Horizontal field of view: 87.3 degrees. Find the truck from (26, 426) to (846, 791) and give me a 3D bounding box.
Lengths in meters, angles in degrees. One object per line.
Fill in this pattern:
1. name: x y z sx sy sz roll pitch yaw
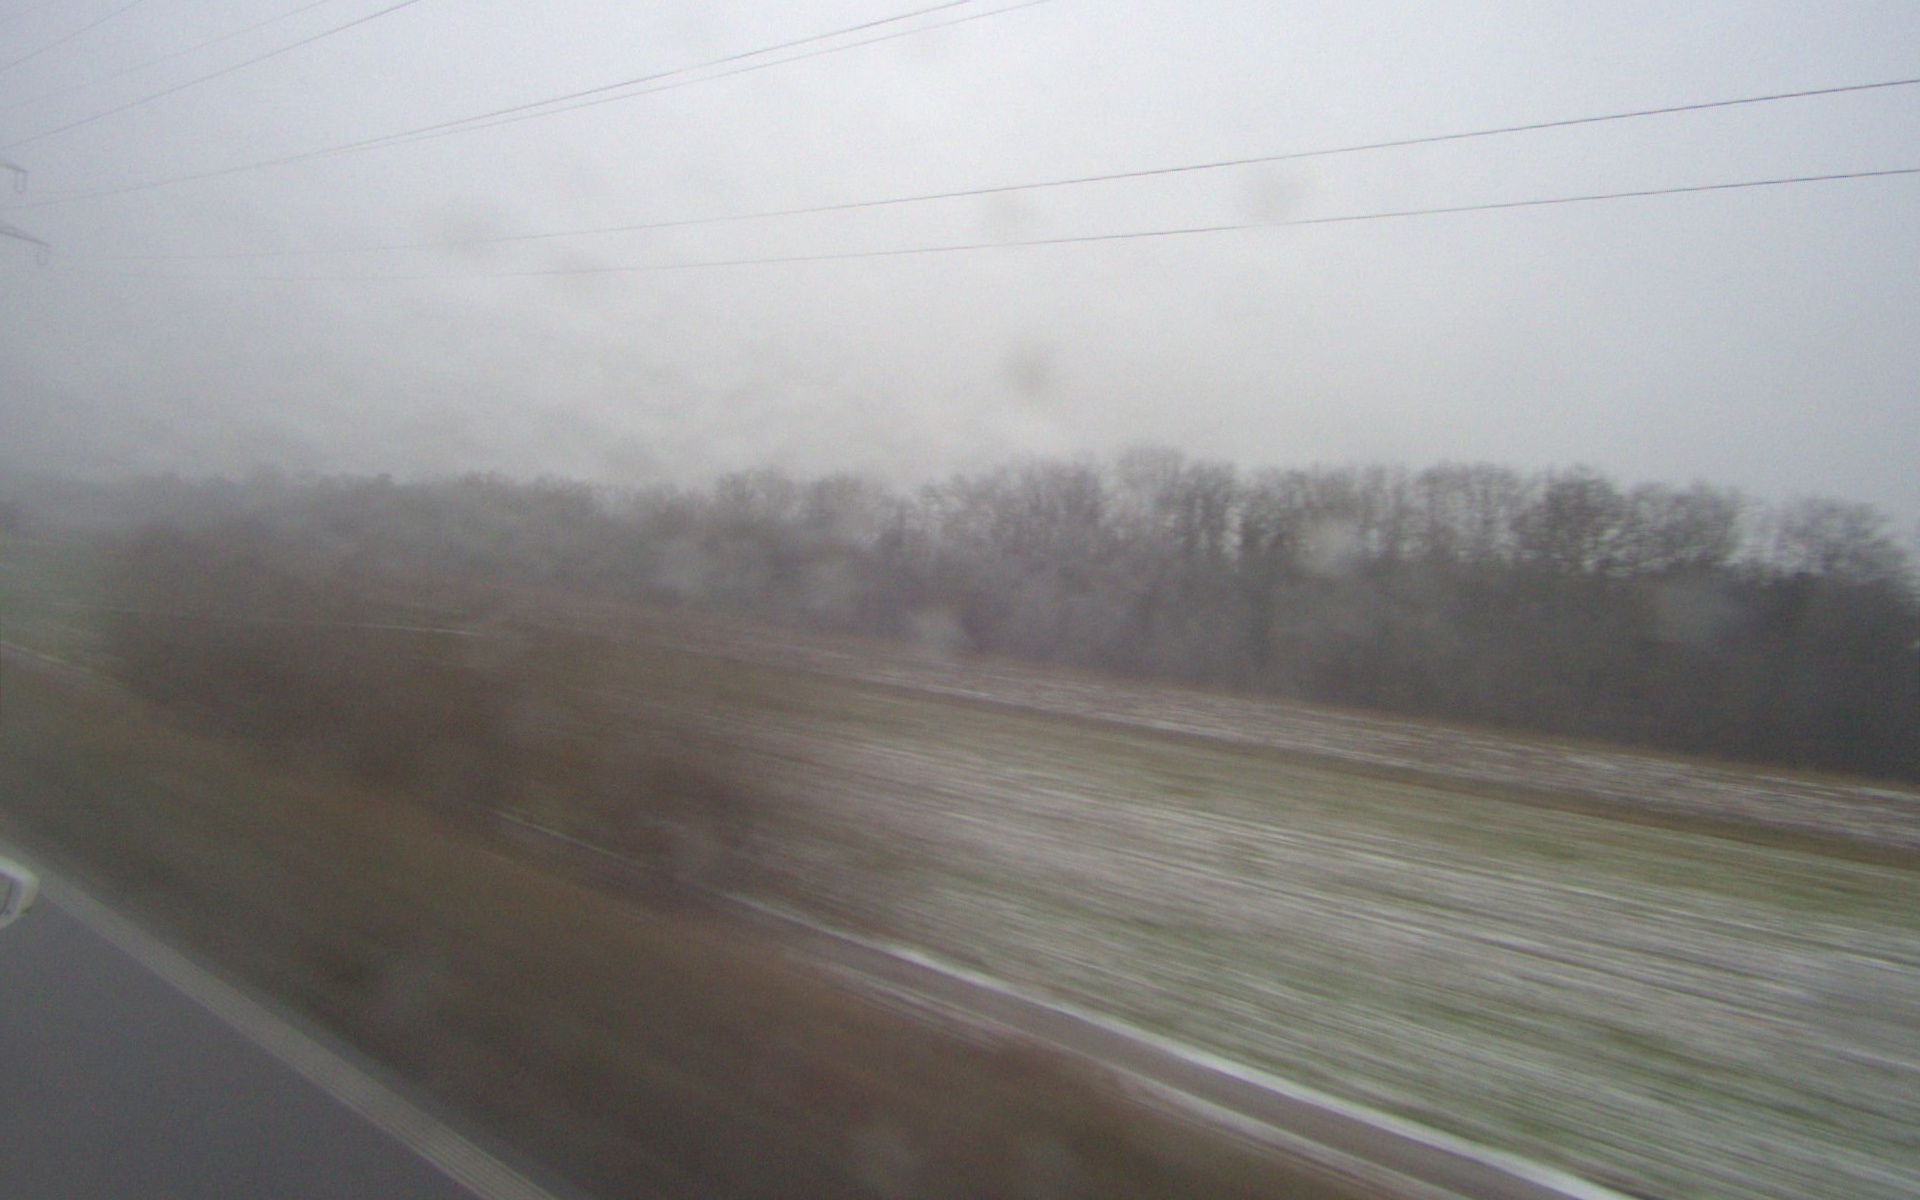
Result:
1. truck: -6.434 -0.276 11.155 10.622 2.601 2.509 6 -2 30
